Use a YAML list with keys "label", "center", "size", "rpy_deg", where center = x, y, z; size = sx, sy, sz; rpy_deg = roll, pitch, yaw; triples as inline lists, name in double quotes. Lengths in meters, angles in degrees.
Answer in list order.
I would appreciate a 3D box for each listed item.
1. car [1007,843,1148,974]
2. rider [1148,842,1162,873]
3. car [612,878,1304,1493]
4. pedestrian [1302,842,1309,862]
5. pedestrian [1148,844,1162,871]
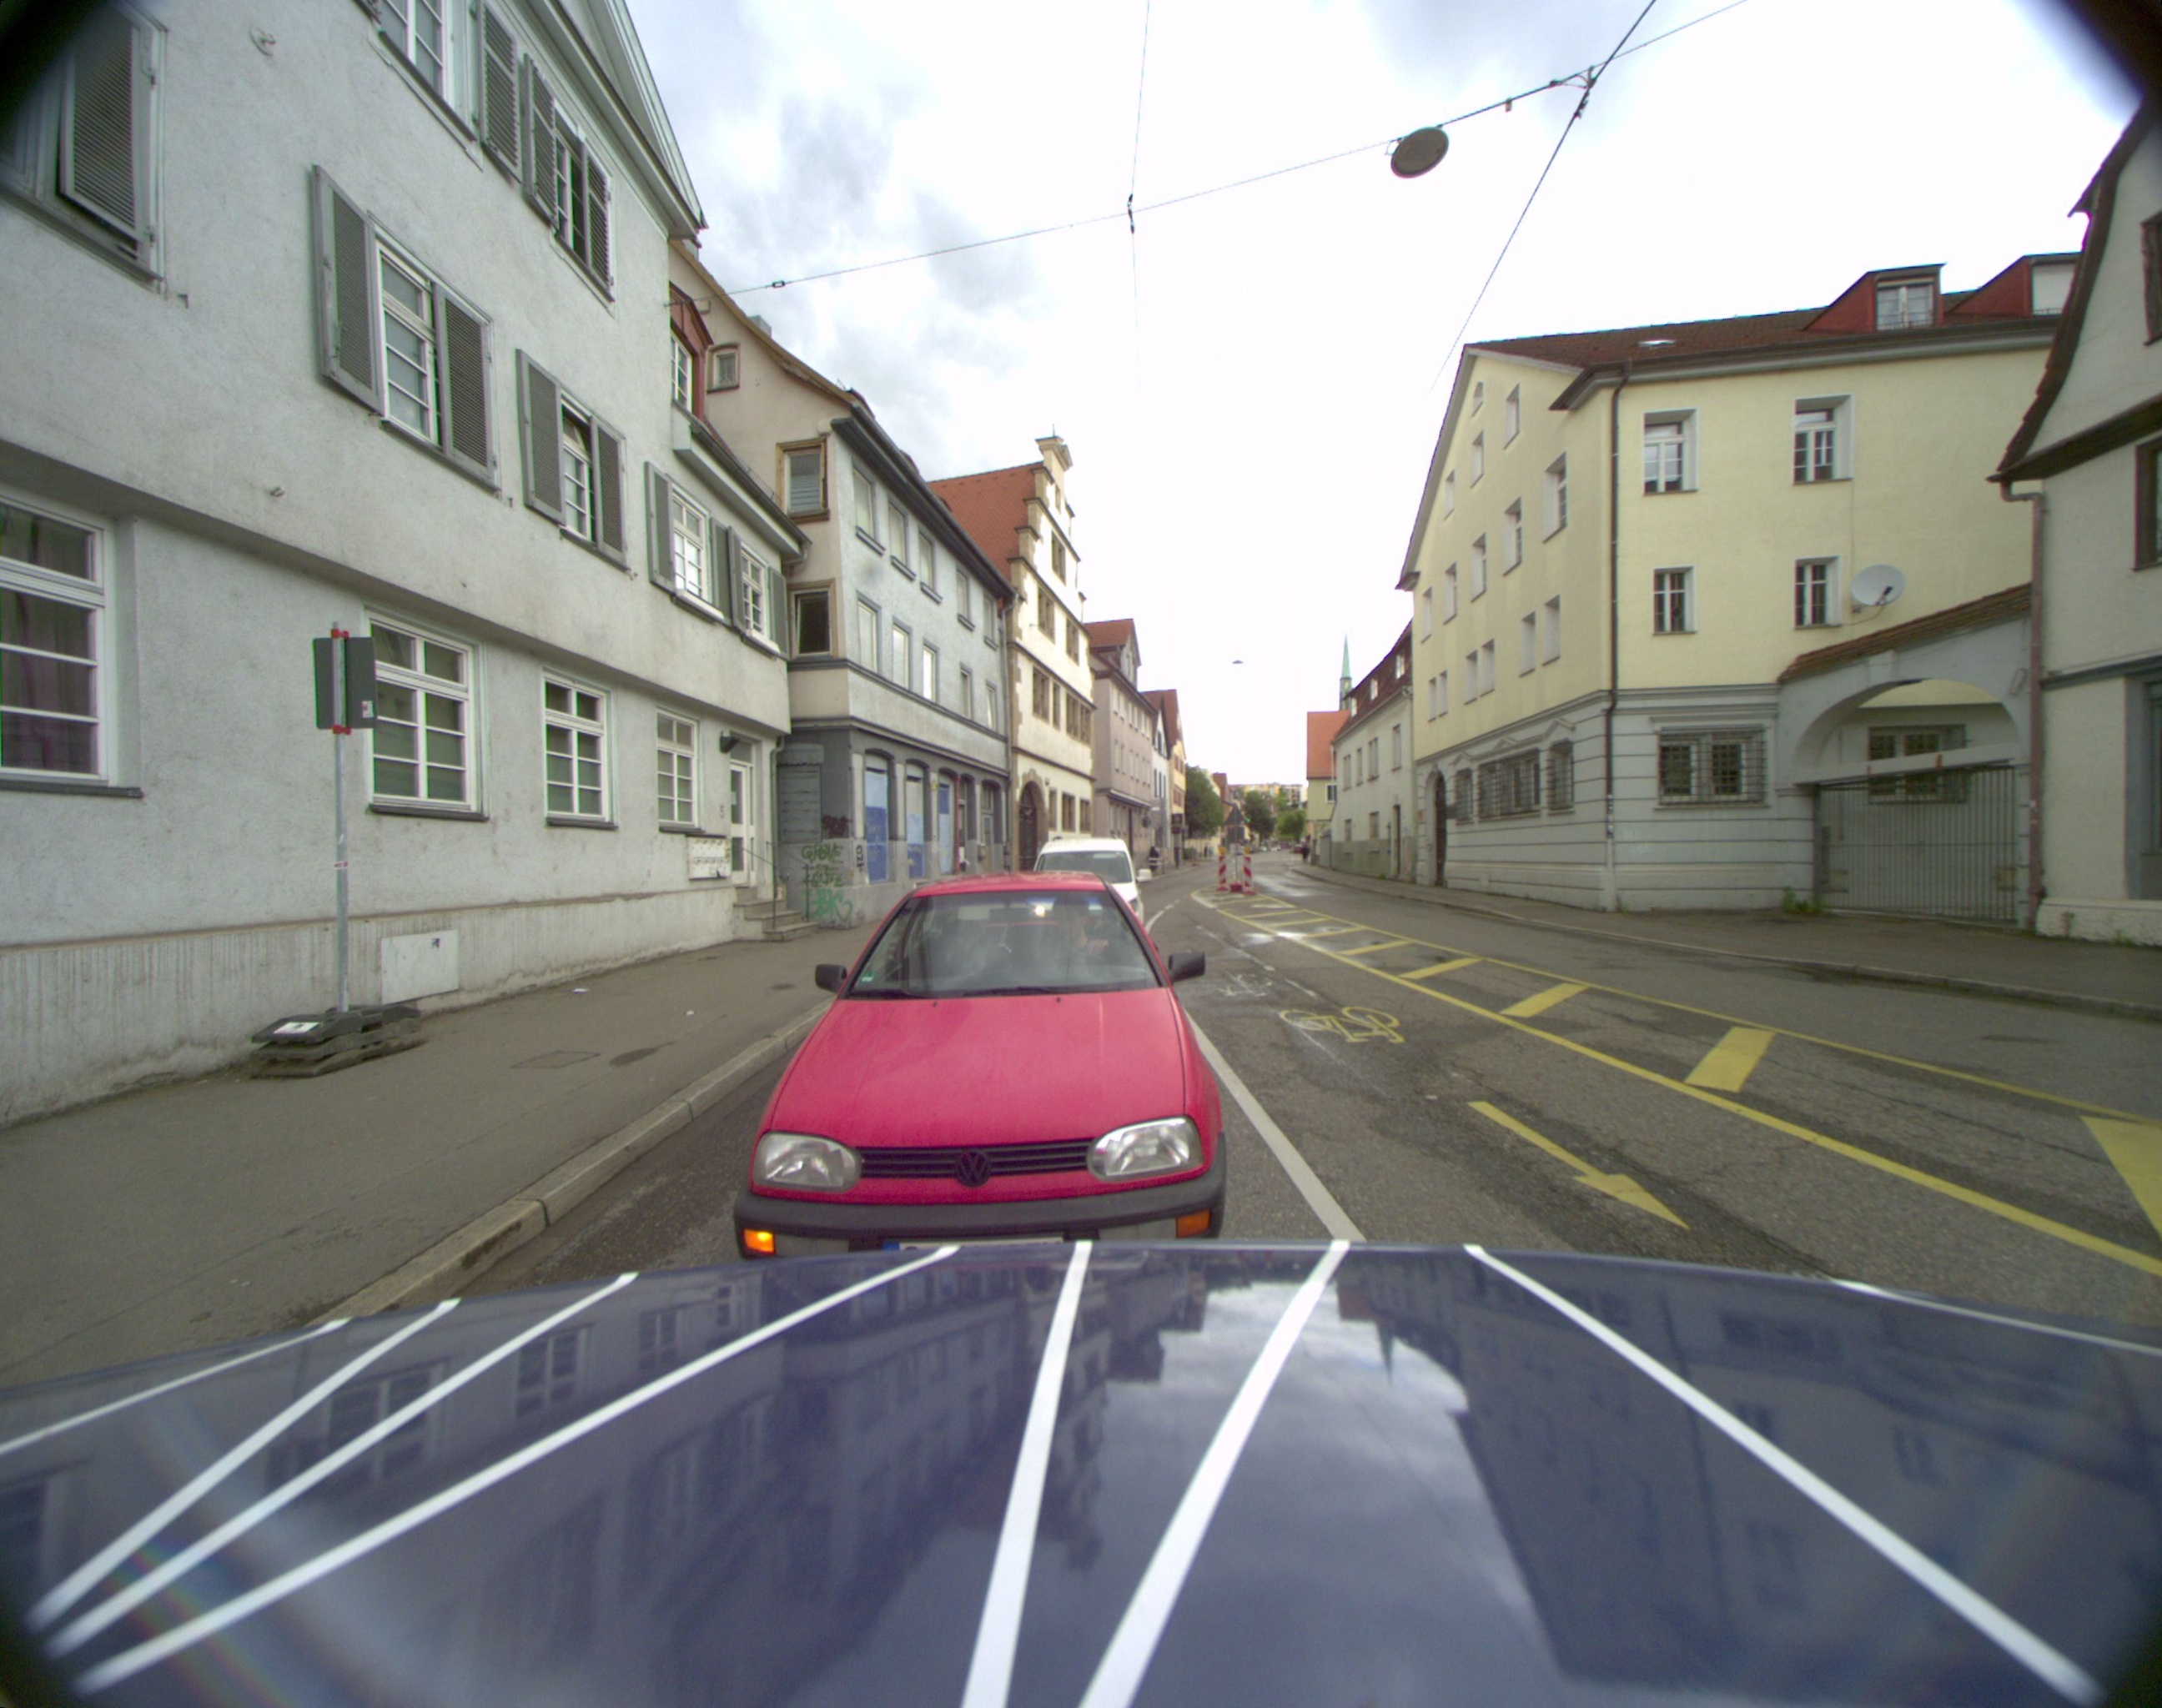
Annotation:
- label: "car"
  center: [0.064, 0.694, 12.166]
  size: [1.814, 1.695, 4.257]
  rpy_deg: [-2, 1, 3]
- label: "rider"
  center: [4.497, 0.199, 46.097]
  size: [0.719, 1.837, 0.798]
  rpy_deg: [-1, 0, 16]
- label: "car"
  center: [-0.326, 0.956, 4.034]
  size: [1.792, 1.417, 3.999]
  rpy_deg: [-2, 1, 0]
- label: "pedestrian"
  center: [20.180, -0.214, 68.307]
  size: [0.592, 1.769, 0.505]
  rpy_deg: [-1, 0, 16]
- label: "pedestrian"
  center: [4.465, 0.190, 45.823]
  size: [0.725, 1.604, 0.649]
  rpy_deg: [-1, 0, 12]
